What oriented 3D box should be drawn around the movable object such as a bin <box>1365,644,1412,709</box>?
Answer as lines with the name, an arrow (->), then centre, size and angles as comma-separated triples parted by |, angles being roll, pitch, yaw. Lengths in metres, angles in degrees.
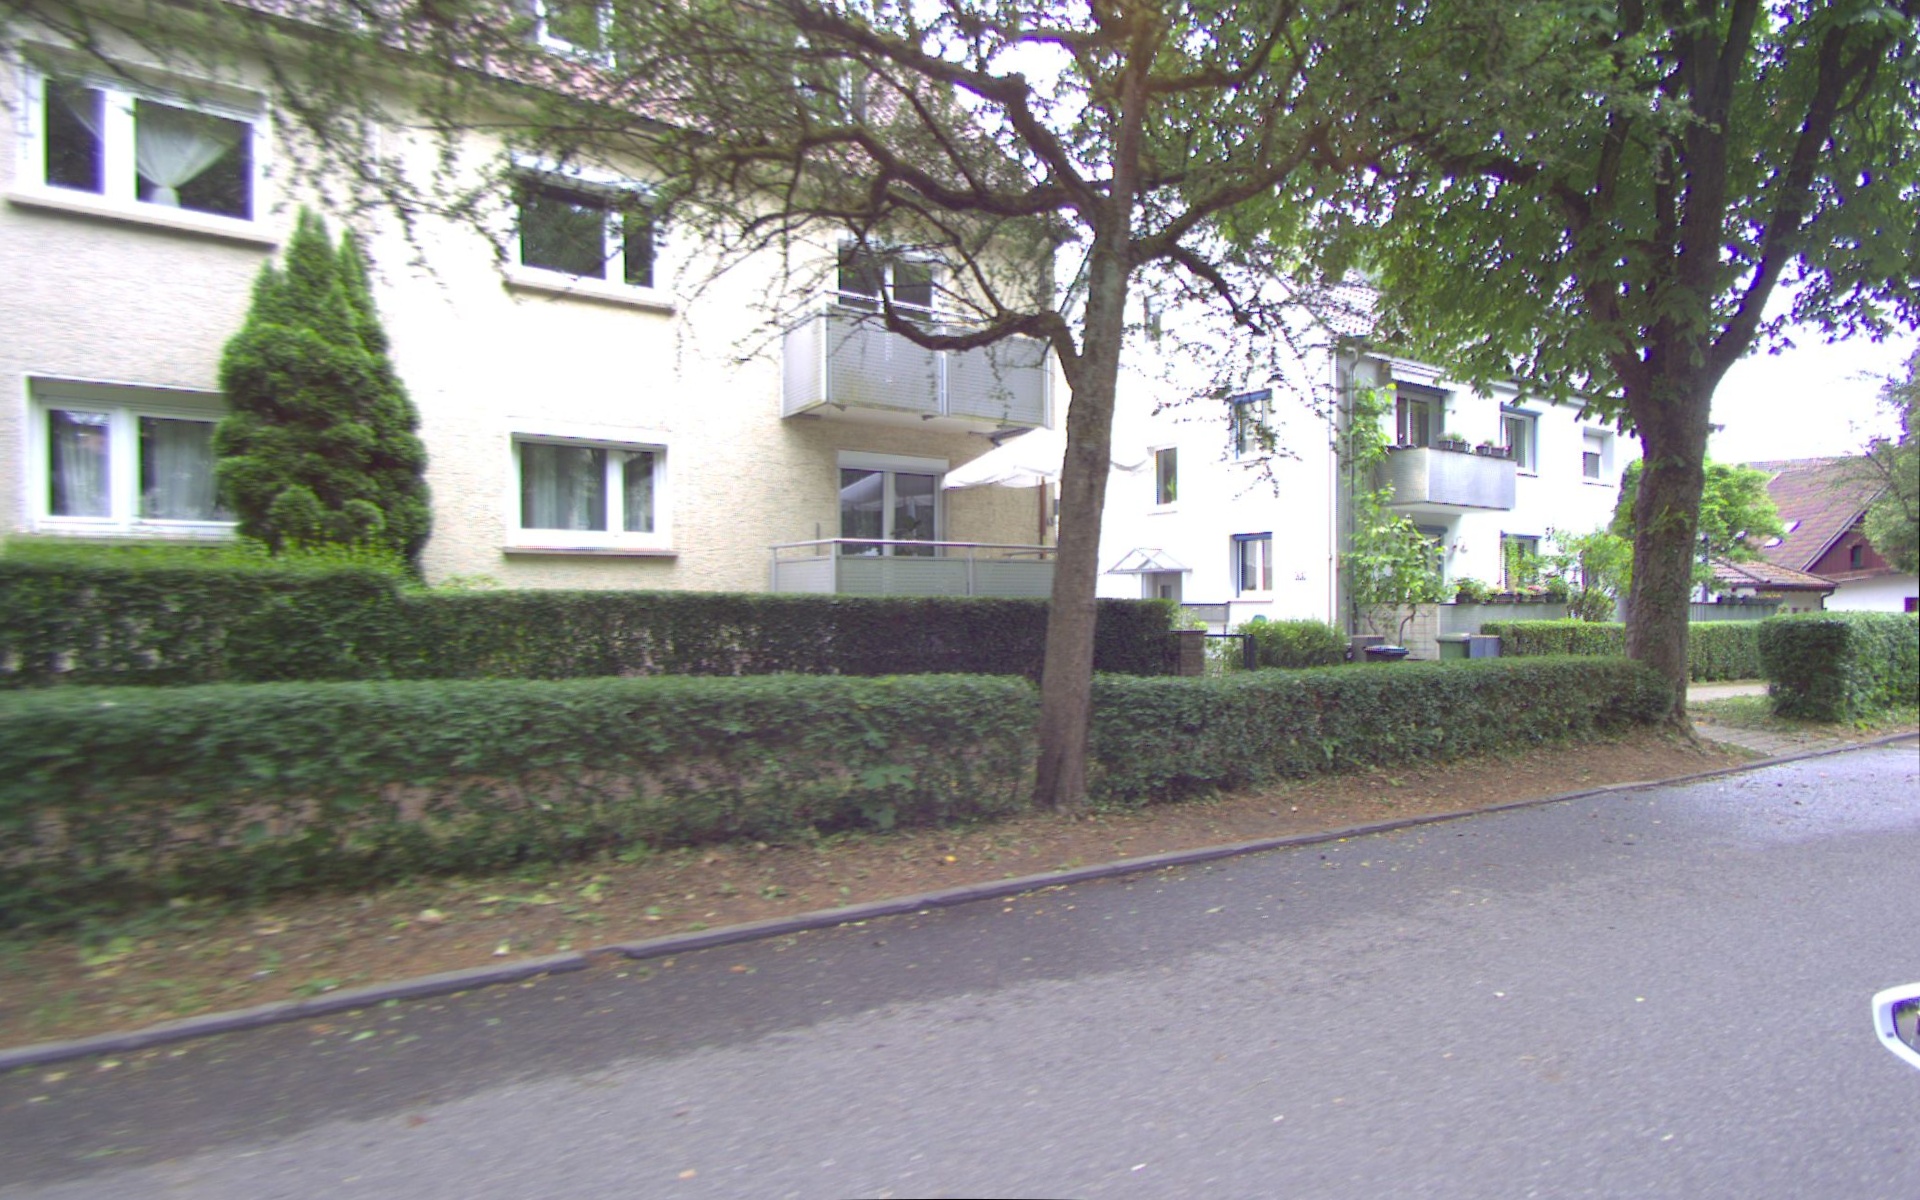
movable object such as a bin -> 6.308, 1.109, 14.789 | 0.504, 0.927, 0.452 | 2, -2, -38

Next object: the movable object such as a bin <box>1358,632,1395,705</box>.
movable object such as a bin -> 6.423, 1.040, 15.484 | 0.402, 1.103, 0.378 | 1, -2, -37
